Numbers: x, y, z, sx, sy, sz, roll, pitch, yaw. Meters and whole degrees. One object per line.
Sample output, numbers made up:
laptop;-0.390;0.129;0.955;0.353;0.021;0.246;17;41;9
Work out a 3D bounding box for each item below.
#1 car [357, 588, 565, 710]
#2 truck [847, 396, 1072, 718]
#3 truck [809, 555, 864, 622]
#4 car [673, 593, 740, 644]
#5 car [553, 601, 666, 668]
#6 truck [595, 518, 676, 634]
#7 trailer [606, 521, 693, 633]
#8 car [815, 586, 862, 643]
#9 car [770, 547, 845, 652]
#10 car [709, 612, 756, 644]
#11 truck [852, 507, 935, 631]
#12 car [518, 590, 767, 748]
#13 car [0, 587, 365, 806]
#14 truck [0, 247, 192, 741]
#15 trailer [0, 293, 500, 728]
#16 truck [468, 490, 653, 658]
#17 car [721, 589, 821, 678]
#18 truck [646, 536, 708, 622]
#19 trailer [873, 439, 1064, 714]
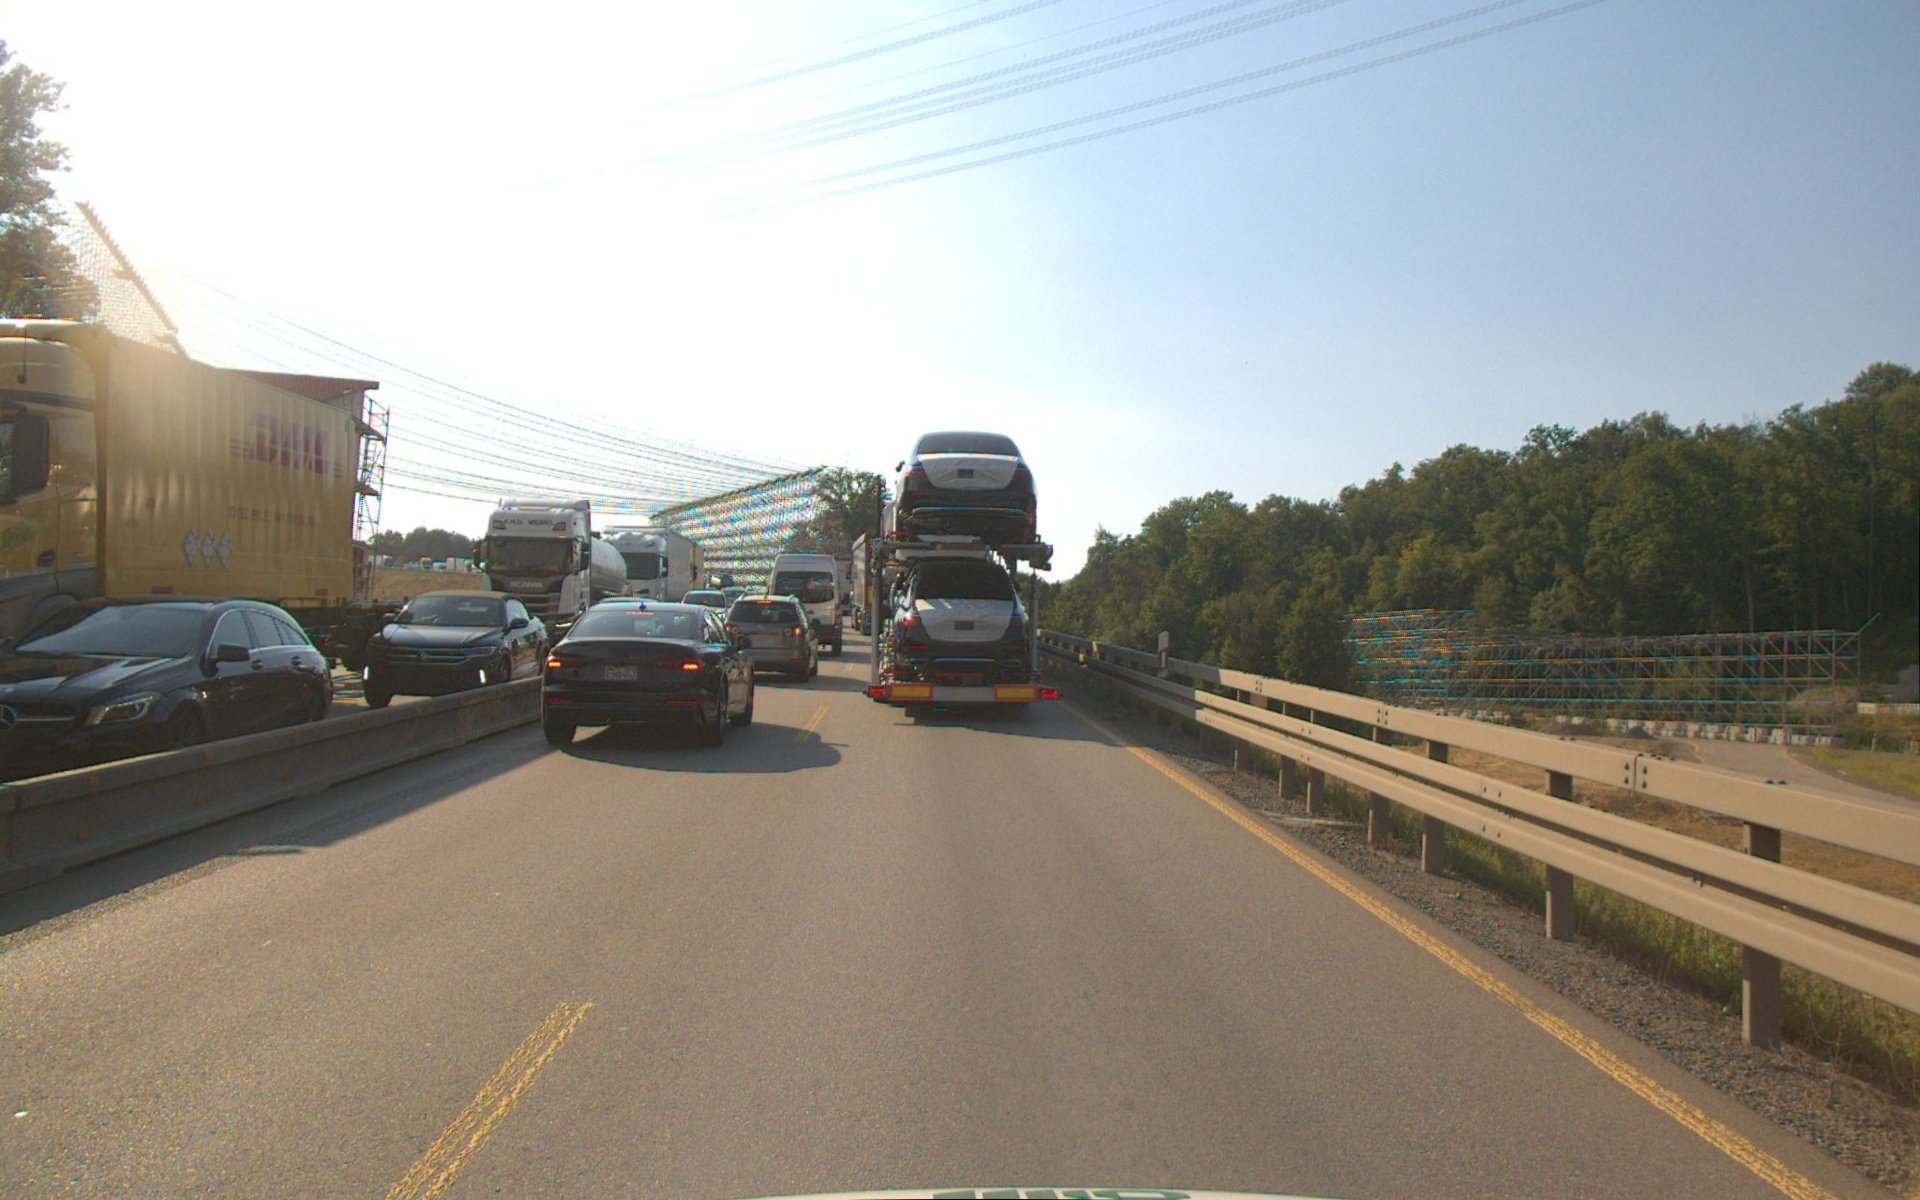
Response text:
car;-6.814;0.657;23.047;1.682;1.534;4.290;0;-1;-1
truck;0.064;-0.490;23.724;2.810;4.050;5.772;0;-1;1
truck;-9.230;-0.899;124.911;3.575;4.758;11.690;1;0;-2
car;-8.651;0.636;56.789;1.809;1.676;4.557;0;-1;-3
car;-7.907;0.775;37.765;1.704;1.427;4.900;0;-1;-2
truck;-12.632;-0.835;64.846;2.396;4.347;6.315;0;-1;-5
trailer;-13.093;-0.794;70.580;2.405;4.341;12.132;0;-1;-5
car;-4.440;0.563;60.705;1.635;2.019;3.814;0;-1;-4
car;-4.108;0.027;45.034;1.940;2.731;4.143;0;-1;-4
car;-9.331;1.153;68.041;1.677;1.274;4.047;0;-1;-4
truck;-2.912;-1.253;69.920;3.164;4.758;11.687;1;0;-4
car;-3.357;0.695;18.498;1.901;1.506;5.220;0;-1;-2
car;-6.558;0.692;13.575;1.761;1.478;4.613;1;-1;-2
truck;-9.696;-0.889;15.901;2.639;4.271;4.395;0;-1;-3
trailer;-10.019;-0.738;24.192;2.647;4.278;15.989;0;-1;-2
truck;-11.360;-0.595;48.673;2.754;4.039;13.881;4;-1;-4
car;-3.594;0.645;32.079;1.667;1.615;4.144;0;-1;-3
truck;-14.810;-1.032;86.816;2.838;4.347;5.762;0;-1;-7
trailer;-0.150;-0.206;32.110;2.817;4.064;15.271;0;-1;-2
